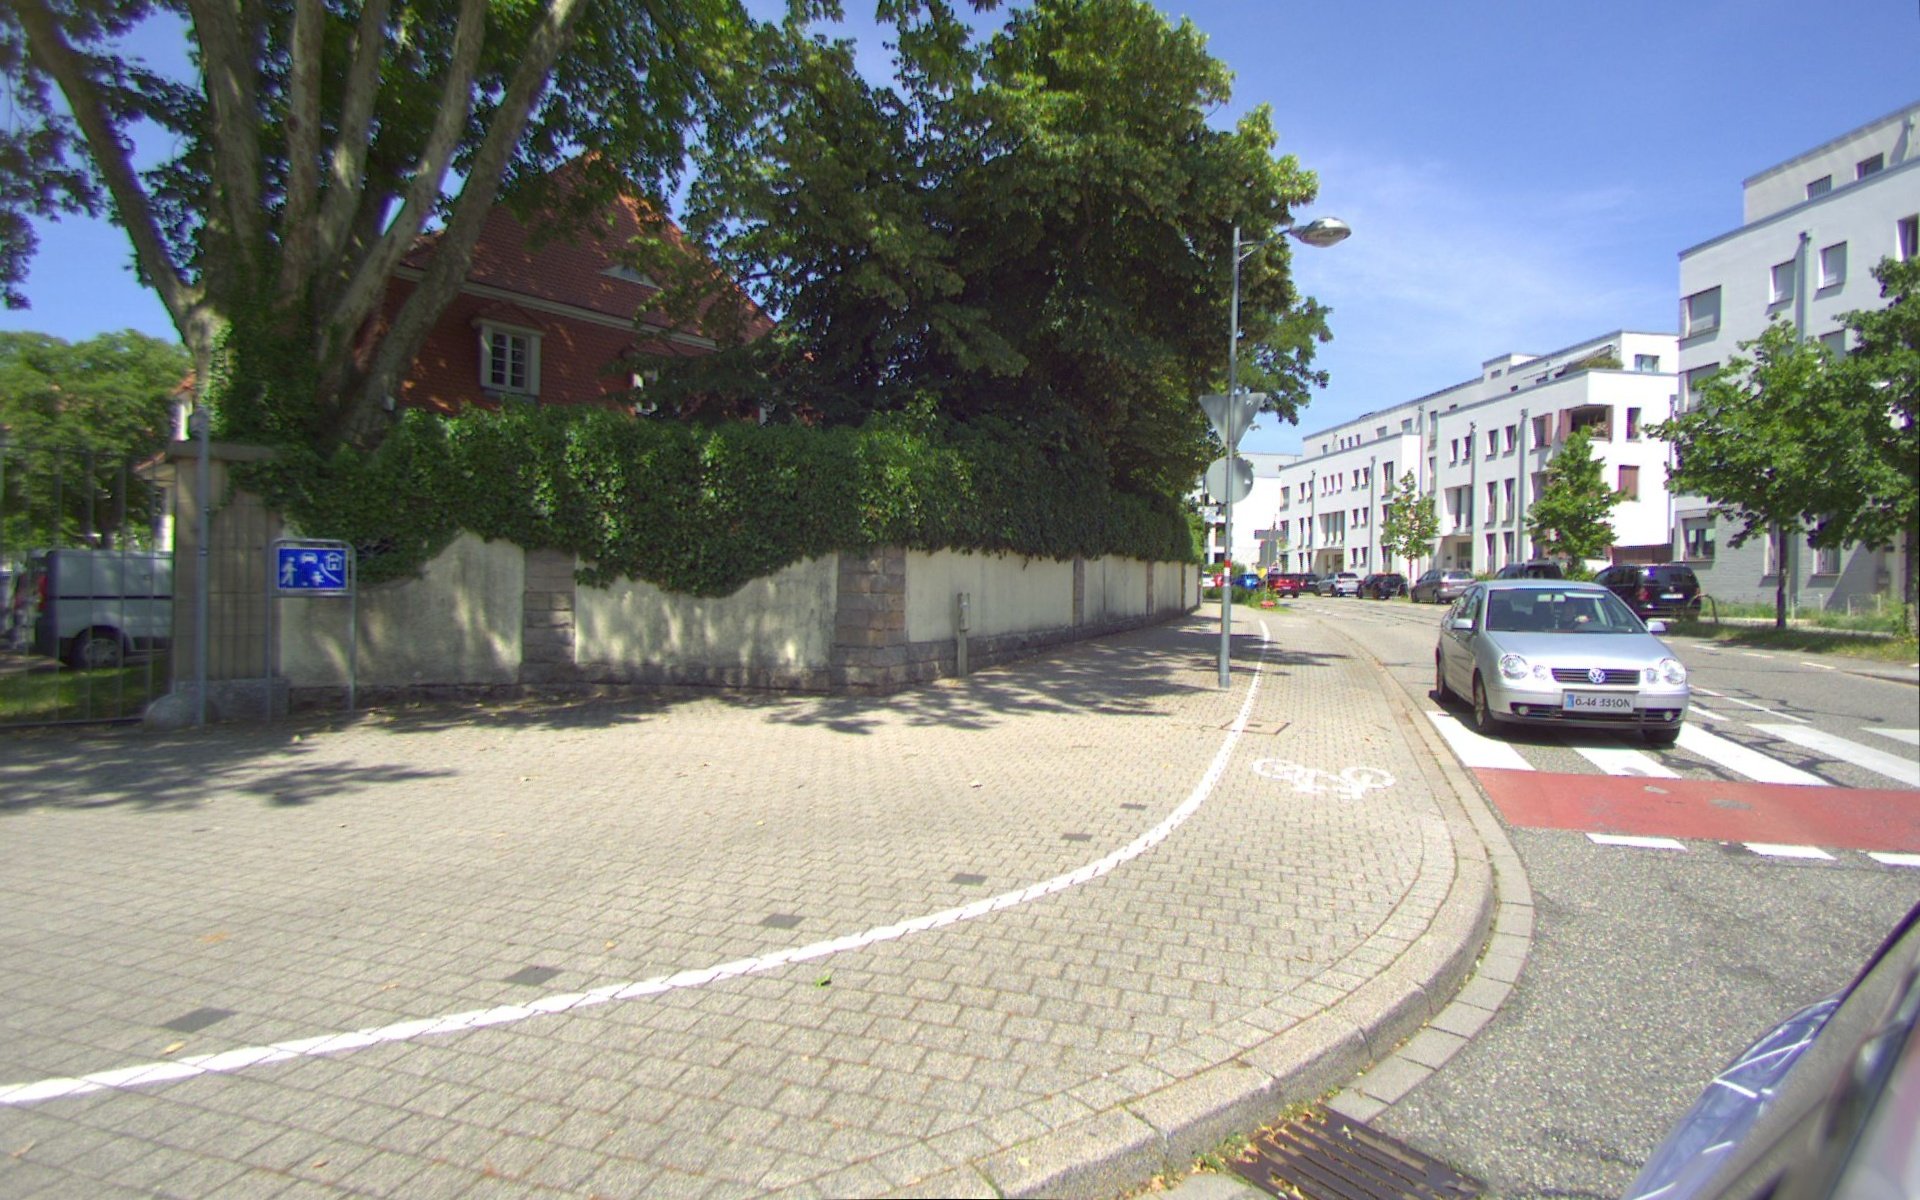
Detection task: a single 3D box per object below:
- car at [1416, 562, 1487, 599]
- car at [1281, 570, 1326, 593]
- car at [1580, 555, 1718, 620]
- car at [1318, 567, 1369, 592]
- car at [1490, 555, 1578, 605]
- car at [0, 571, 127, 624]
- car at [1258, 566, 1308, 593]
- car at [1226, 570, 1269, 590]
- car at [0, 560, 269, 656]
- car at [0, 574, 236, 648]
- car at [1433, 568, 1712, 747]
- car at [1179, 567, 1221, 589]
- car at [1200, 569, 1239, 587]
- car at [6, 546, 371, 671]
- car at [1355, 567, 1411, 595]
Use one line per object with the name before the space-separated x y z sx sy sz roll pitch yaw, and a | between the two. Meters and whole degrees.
car | 22.268 -0.908 45.992 1.760 1.609 3.622 0 2 6
car | 22.839 -1.245 67.399 1.674 1.431 3.723 0 2 -1
car | 18.977 -0.384 28.085 1.673 1.657 4.009 0 2 11
car | 22.943 -1.248 60.651 1.675 1.431 3.721 0 2 2
car | 20.690 -0.749 36.629 1.673 1.721 3.617 0 2 11
car | -28.827 -0.094 31.728 1.806 1.564 4.027 1 2 45
car | 19.162 -1.238 60.275 1.723 1.523 3.993 0 1 1
car | 21.948 -1.528 77.352 1.672 1.431 3.729 -1 2 -10
car | -17.471 0.076 21.509 1.833 1.833 4.271 1 2 39
car | -19.343 0.181 23.120 1.804 1.503 4.269 1 2 41
car | 6.082 0.416 10.541 1.587 1.469 3.978 0 2 18
car | 18.040 -1.682 76.255 1.779 1.628 4.127 -1 2 -7
car | 21.224 -1.803 82.831 1.672 1.431 3.729 -1 2 -10
car | -13.395 0.044 17.864 1.967 1.910 4.797 1 2 39
car | 22.725 -1.044 54.506 1.677 1.431 3.624 0 2 4
